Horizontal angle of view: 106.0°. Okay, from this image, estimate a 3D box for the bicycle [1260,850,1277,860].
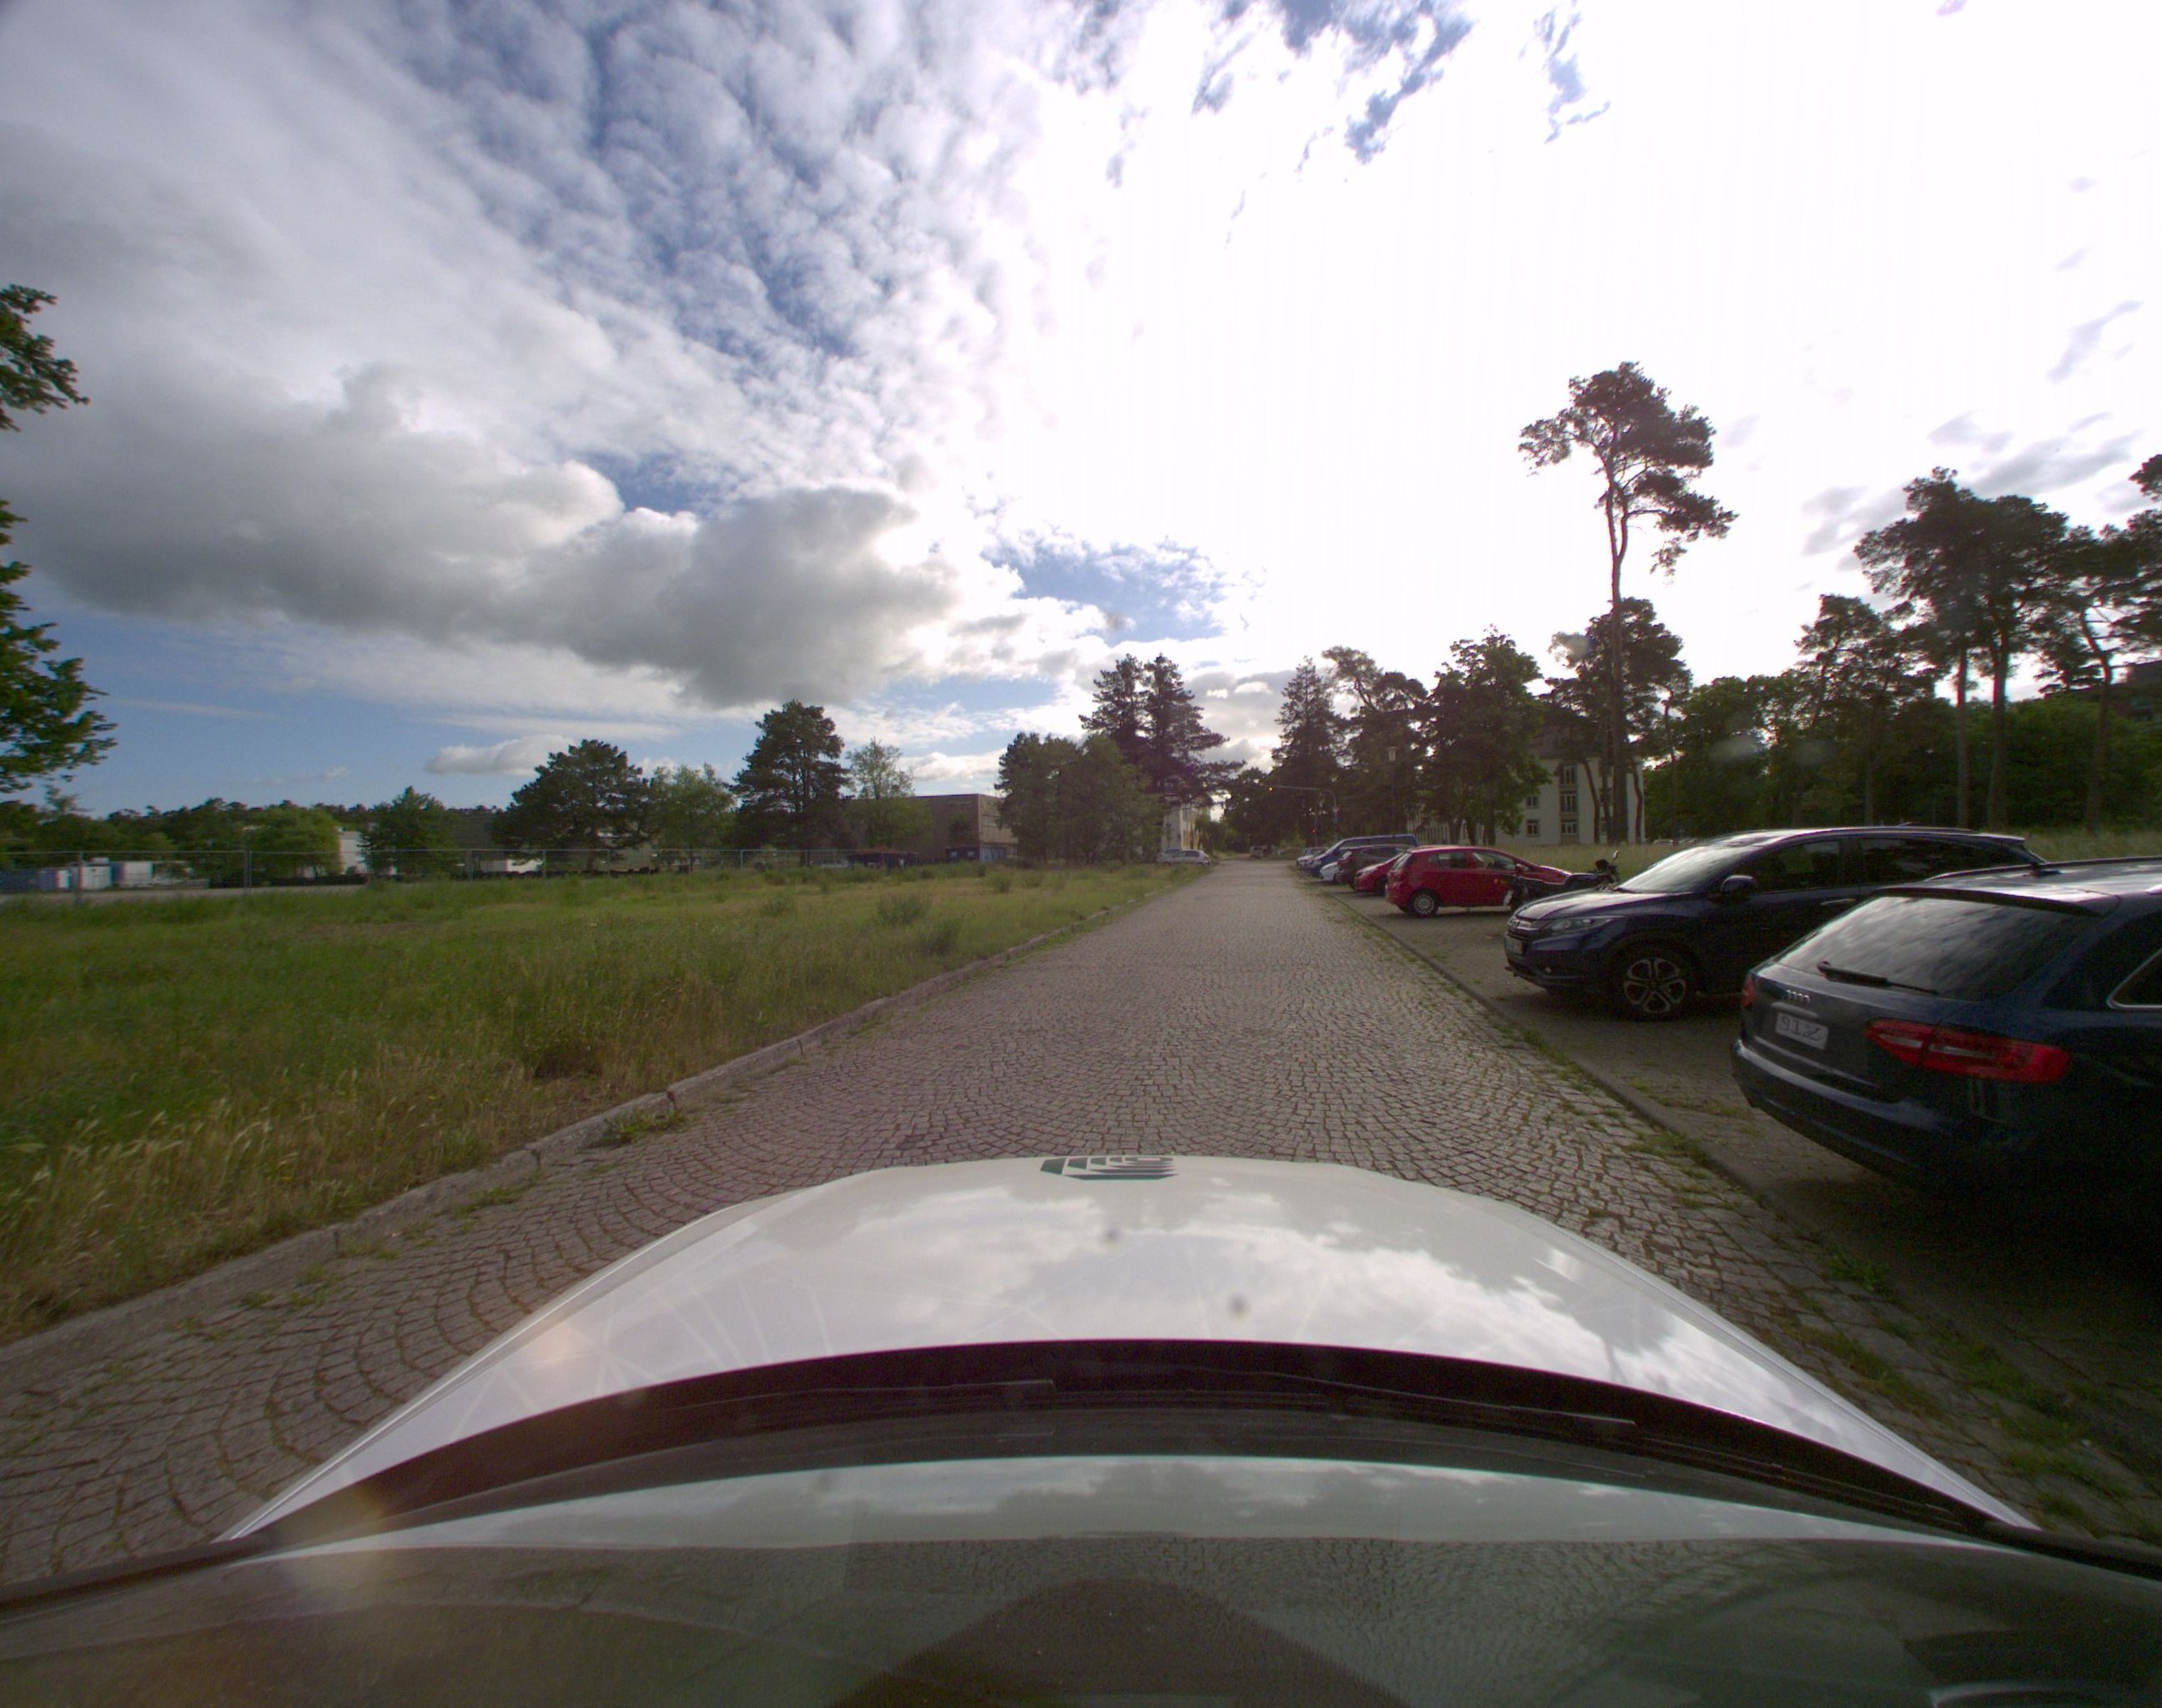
[{"bbox_3d":[25.358,0.087,110.226,2.150,1.268,0.814,-1,0,6],"label":"bicycle"}]

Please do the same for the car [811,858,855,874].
[{"bbox_3d":[-26.239,1.301,86.129,3.960,1.553,1.815,-1,0,12],"label":"car"}]

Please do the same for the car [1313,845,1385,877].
[{"bbox_3d":[13.661,0.334,41.721,3.272,1.504,1.669,-2,0,10],"label":"car"}]

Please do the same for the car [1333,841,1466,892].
[{"bbox_3d":[10.692,0.418,27.561,3.925,1.580,1.767,-1,0,10],"label":"car"}]

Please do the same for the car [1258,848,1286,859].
[{"bbox_3d":[28.732,-0.108,122.585,3.966,1.644,2.004,-1,0,6],"label":"car"}]

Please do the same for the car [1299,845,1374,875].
[{"bbox_3d":[13.984,0.307,44.697,3.584,1.506,1.665,-2,0,1],"label":"car"}]

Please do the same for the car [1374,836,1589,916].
[{"bbox_3d":[8.525,0.467,17.648,3.814,1.505,1.743,-2,0,11],"label":"car"}]

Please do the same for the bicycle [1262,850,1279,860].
[{"bbox_3d":[25.326,0.078,108.989,2.150,1.268,0.814,-1,0,6],"label":"bicycle"}]

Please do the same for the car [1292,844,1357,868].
[{"bbox_3d":[17.064,0.161,57.264,4.101,1.543,1.667,-2,0,6],"label":"car"}]

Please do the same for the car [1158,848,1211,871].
[{"bbox_3d":[8.085,0.424,63.561,3.966,1.706,2.004,-2,0,6],"label":"car"}]

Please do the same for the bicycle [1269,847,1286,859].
[{"bbox_3d":[26.381,-0.097,109.493,2.150,1.616,0.814,-1,0,6],"label":"bicycle"}]

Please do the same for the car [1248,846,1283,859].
[{"bbox_3d":[28.500,-0.217,125.995,5.031,2.013,2.001,-1,0,2],"label":"car"}]

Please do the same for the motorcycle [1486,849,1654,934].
[{"bbox_3d":[7.855,0.593,13.157,2.252,1.275,0.607,-2,0,7],"label":"motorcycle"}]

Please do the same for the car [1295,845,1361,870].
[{"bbox_3d":[16.499,0.246,54.502,3.966,1.543,1.667,-2,0,6],"label":"car"}]

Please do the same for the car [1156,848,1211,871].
[{"bbox_3d":[7.688,0.401,61.054,3.966,1.552,2.004,-2,0,6],"label":"car"}]

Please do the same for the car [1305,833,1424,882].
[{"bbox_3d":[12.594,0.154,36.423,4.752,2.040,1.743,-2,0,10],"label":"car"}]

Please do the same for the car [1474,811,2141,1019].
[{"bbox_3d":[6.228,0.544,7.604,4.234,1.573,1.902,-3,0,12],"label":"car"}]

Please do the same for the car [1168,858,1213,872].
[{"bbox_3d":[9.238,0.925,68.713,3.652,1.094,1.649,-2,0,6],"label":"car"}]

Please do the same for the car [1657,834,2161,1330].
[{"bbox_3d":[5.113,0.641,2.994,4.471,1.464,1.903,-3,0,15],"label":"car"}]

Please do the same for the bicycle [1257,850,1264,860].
[{"bbox_3d":[23.170,0.157,104.987,0.804,1.268,1.980,-1,0,13],"label":"bicycle"}]

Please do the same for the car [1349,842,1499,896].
[{"bbox_3d":[10.435,0.456,25.049,3.960,1.518,1.744,-2,0,12],"label":"car"}]

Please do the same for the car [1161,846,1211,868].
[{"bbox_3d":[8.584,0.241,66.538,3.967,1.750,1.930,-1,0,5],"label":"car"}]

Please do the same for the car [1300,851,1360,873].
[{"bbox_3d":[15.288,0.474,50.158,3.275,1.267,1.667,-2,0,6],"label":"car"}]

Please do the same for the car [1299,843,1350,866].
[{"bbox_3d":[17.839,0.048,59.736,3.371,1.543,1.394,-2,0,6],"label":"car"}]

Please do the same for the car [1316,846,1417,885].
[{"bbox_3d":[11.860,0.455,34.031,3.699,1.424,1.659,-3,0,9],"label":"car"}]

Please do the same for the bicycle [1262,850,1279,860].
[{"bbox_3d":[25.203,0.075,108.412,2.150,1.268,0.814,-1,0,6],"label":"bicycle"}]
